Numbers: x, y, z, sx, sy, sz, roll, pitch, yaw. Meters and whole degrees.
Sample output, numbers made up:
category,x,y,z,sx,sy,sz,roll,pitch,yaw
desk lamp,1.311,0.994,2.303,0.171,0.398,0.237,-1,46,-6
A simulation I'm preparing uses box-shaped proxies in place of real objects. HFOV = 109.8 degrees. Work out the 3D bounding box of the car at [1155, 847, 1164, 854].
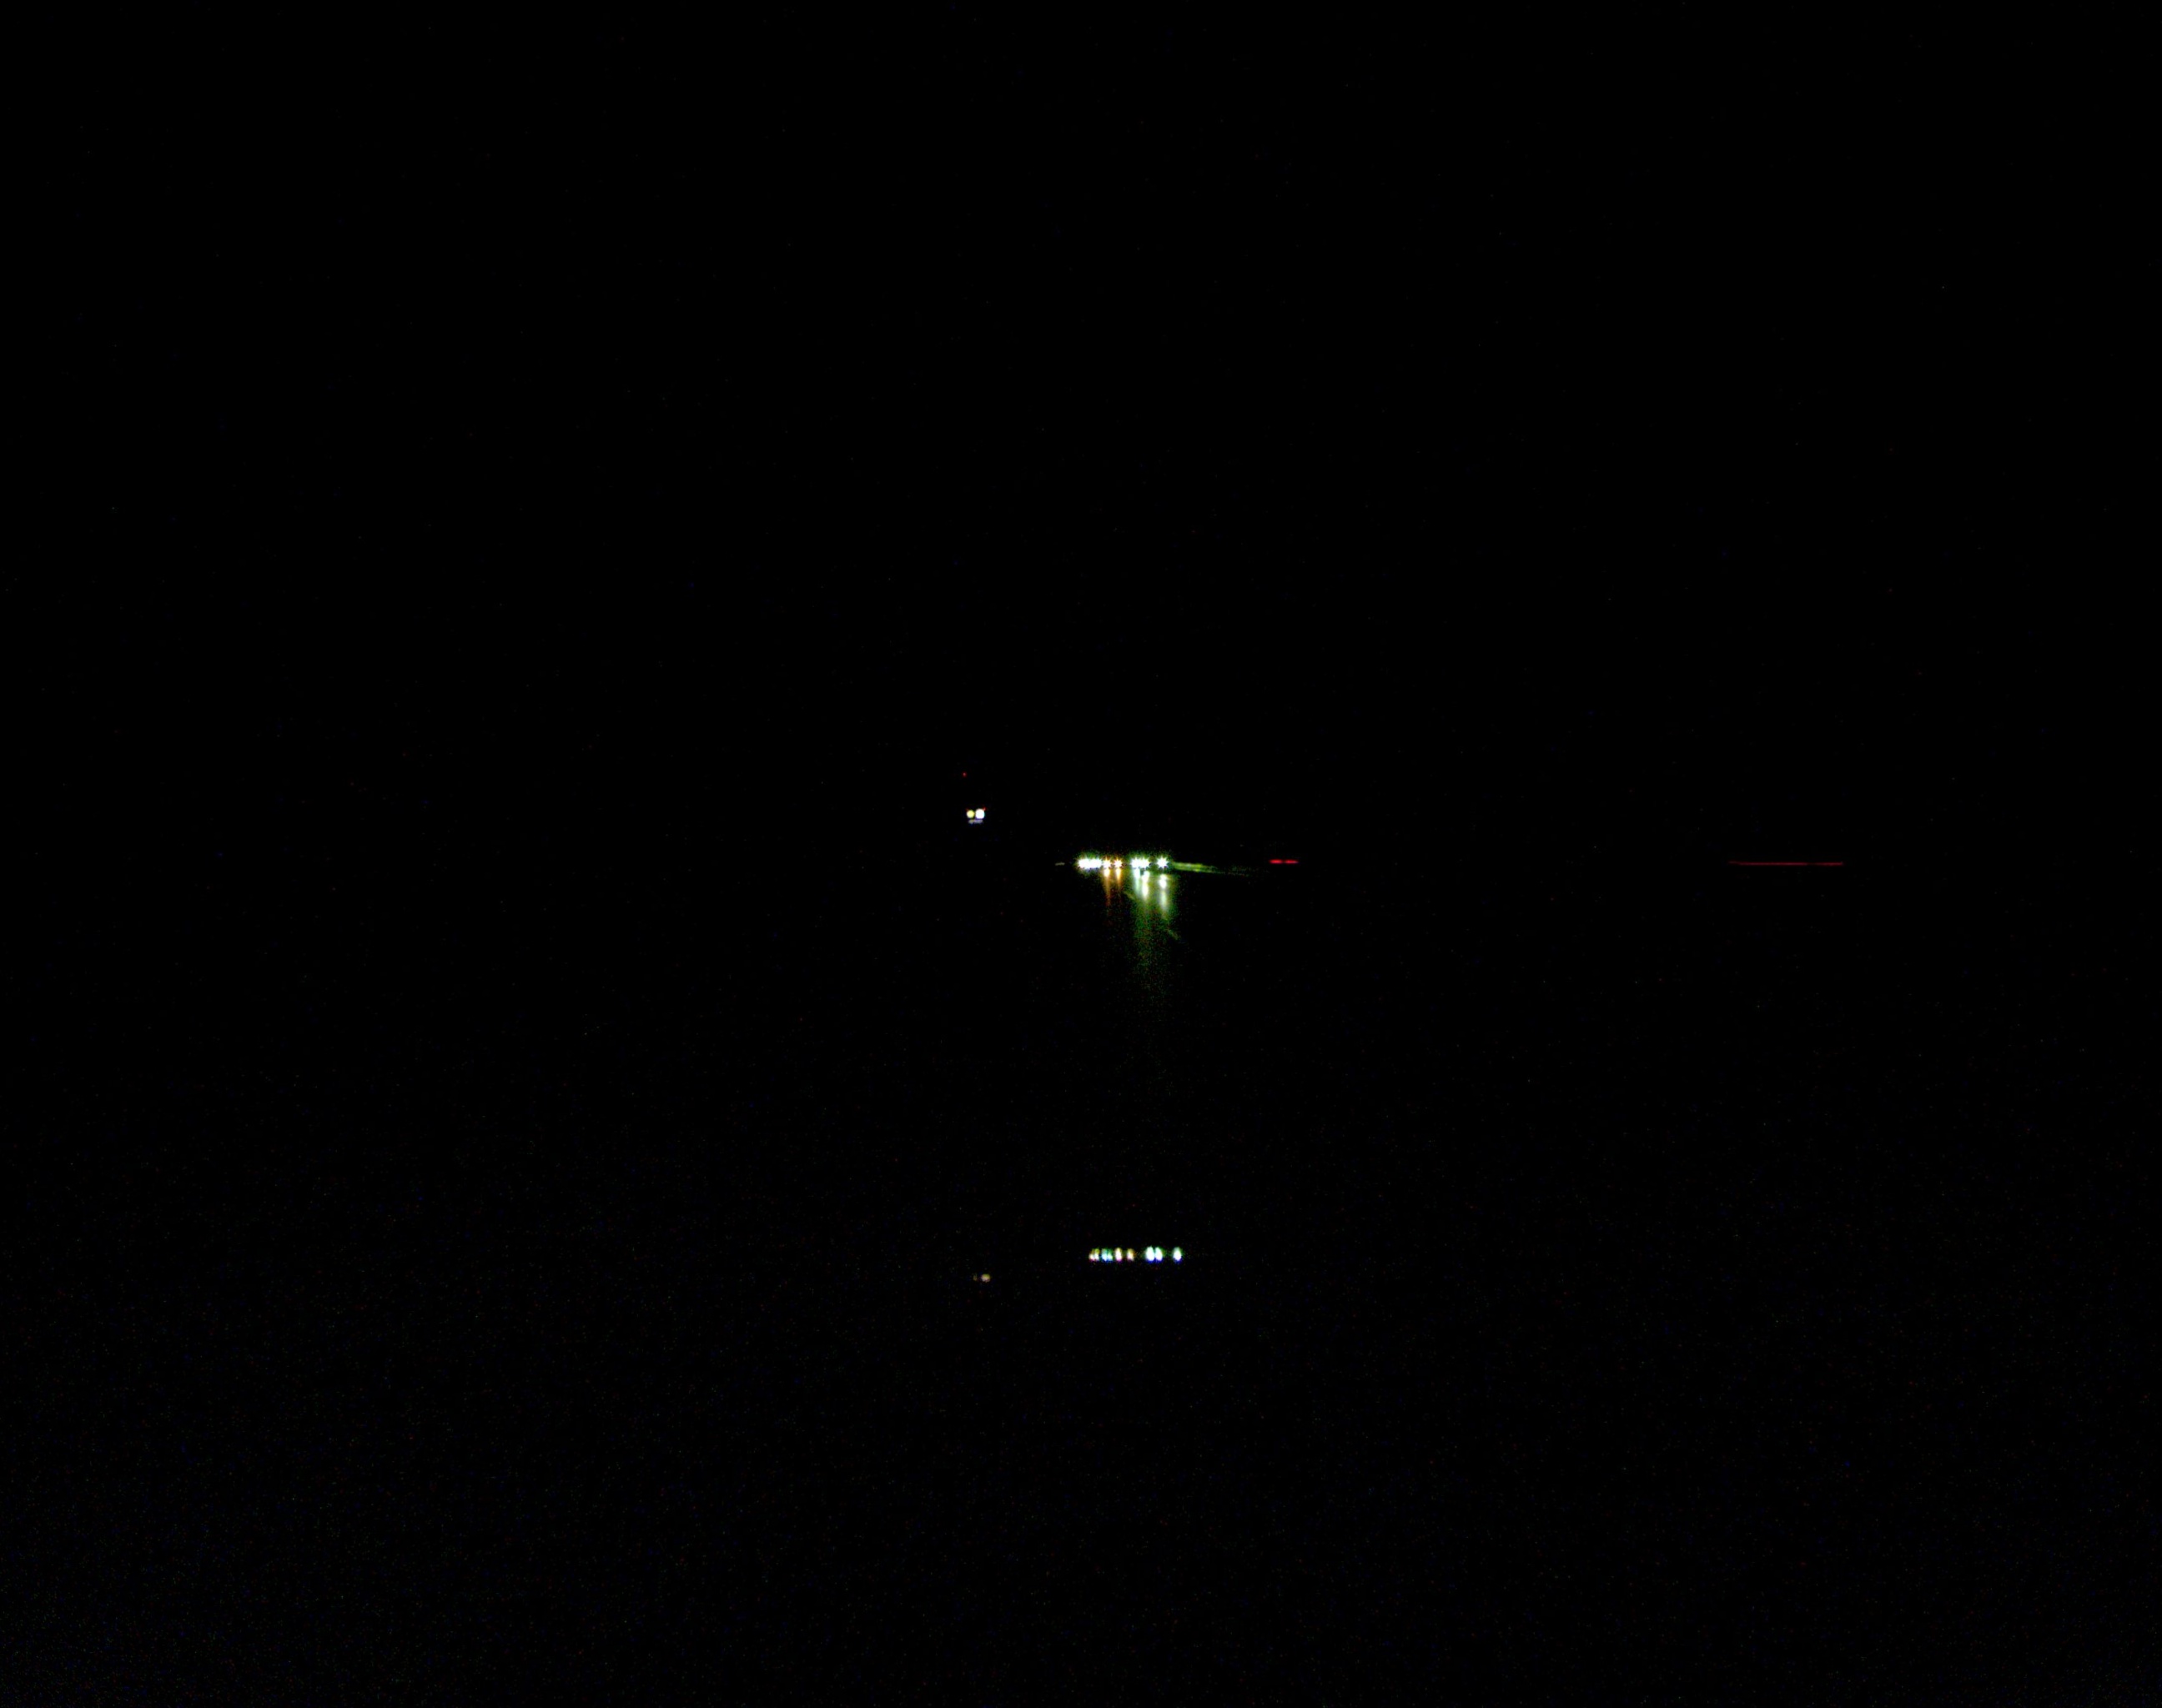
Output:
category,x,y,z,sx,sy,sz,roll,pitch,yaw
car,25.297,-1.063,245.209,2.138,2.086,4.654,-2,0,-1

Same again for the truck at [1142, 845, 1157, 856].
category,x,y,z,sx,sy,sz,roll,pitch,yaw
truck,21.129,-1.033,234.113,3.446,3.413,9.758,-2,0,-1

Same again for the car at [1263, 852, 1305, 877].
category,x,y,z,sx,sy,sz,roll,pitch,yaw
car,16.405,0.812,61.681,2.202,1.944,4.740,-2,0,1

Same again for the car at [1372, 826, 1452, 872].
category,x,y,z,sx,sy,sz,roll,pitch,yaw
car,23.400,-0.324,54.163,2.499,3.011,7.139,-2,0,-1

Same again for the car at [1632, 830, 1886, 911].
category,x,y,z,sx,sy,sz,roll,pitch,yaw
car,19.430,0.411,22.314,2.339,2.002,5.742,-2,0,1

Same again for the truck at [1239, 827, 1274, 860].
category,x,y,z,sx,sy,sz,roll,pitch,yaw
truck,23.427,-1.339,101.601,3.063,4.209,6.748,-2,0,1

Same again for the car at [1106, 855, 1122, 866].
category,x,y,z,sx,sy,sz,roll,pitch,yaw
car,4.461,0.862,103.119,1.998,1.423,4.329,-2,1,1

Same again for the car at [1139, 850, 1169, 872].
category,x,y,z,sx,sy,sz,roll,pitch,yaw
car,6.111,0.587,64.451,1.998,1.711,5.942,-2,0,1

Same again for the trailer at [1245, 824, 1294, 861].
category,x,y,z,sx,sy,sz,roll,pitch,yaw
trailer,23.285,-1.298,94.662,3.063,4.209,13.040,-2,0,1
